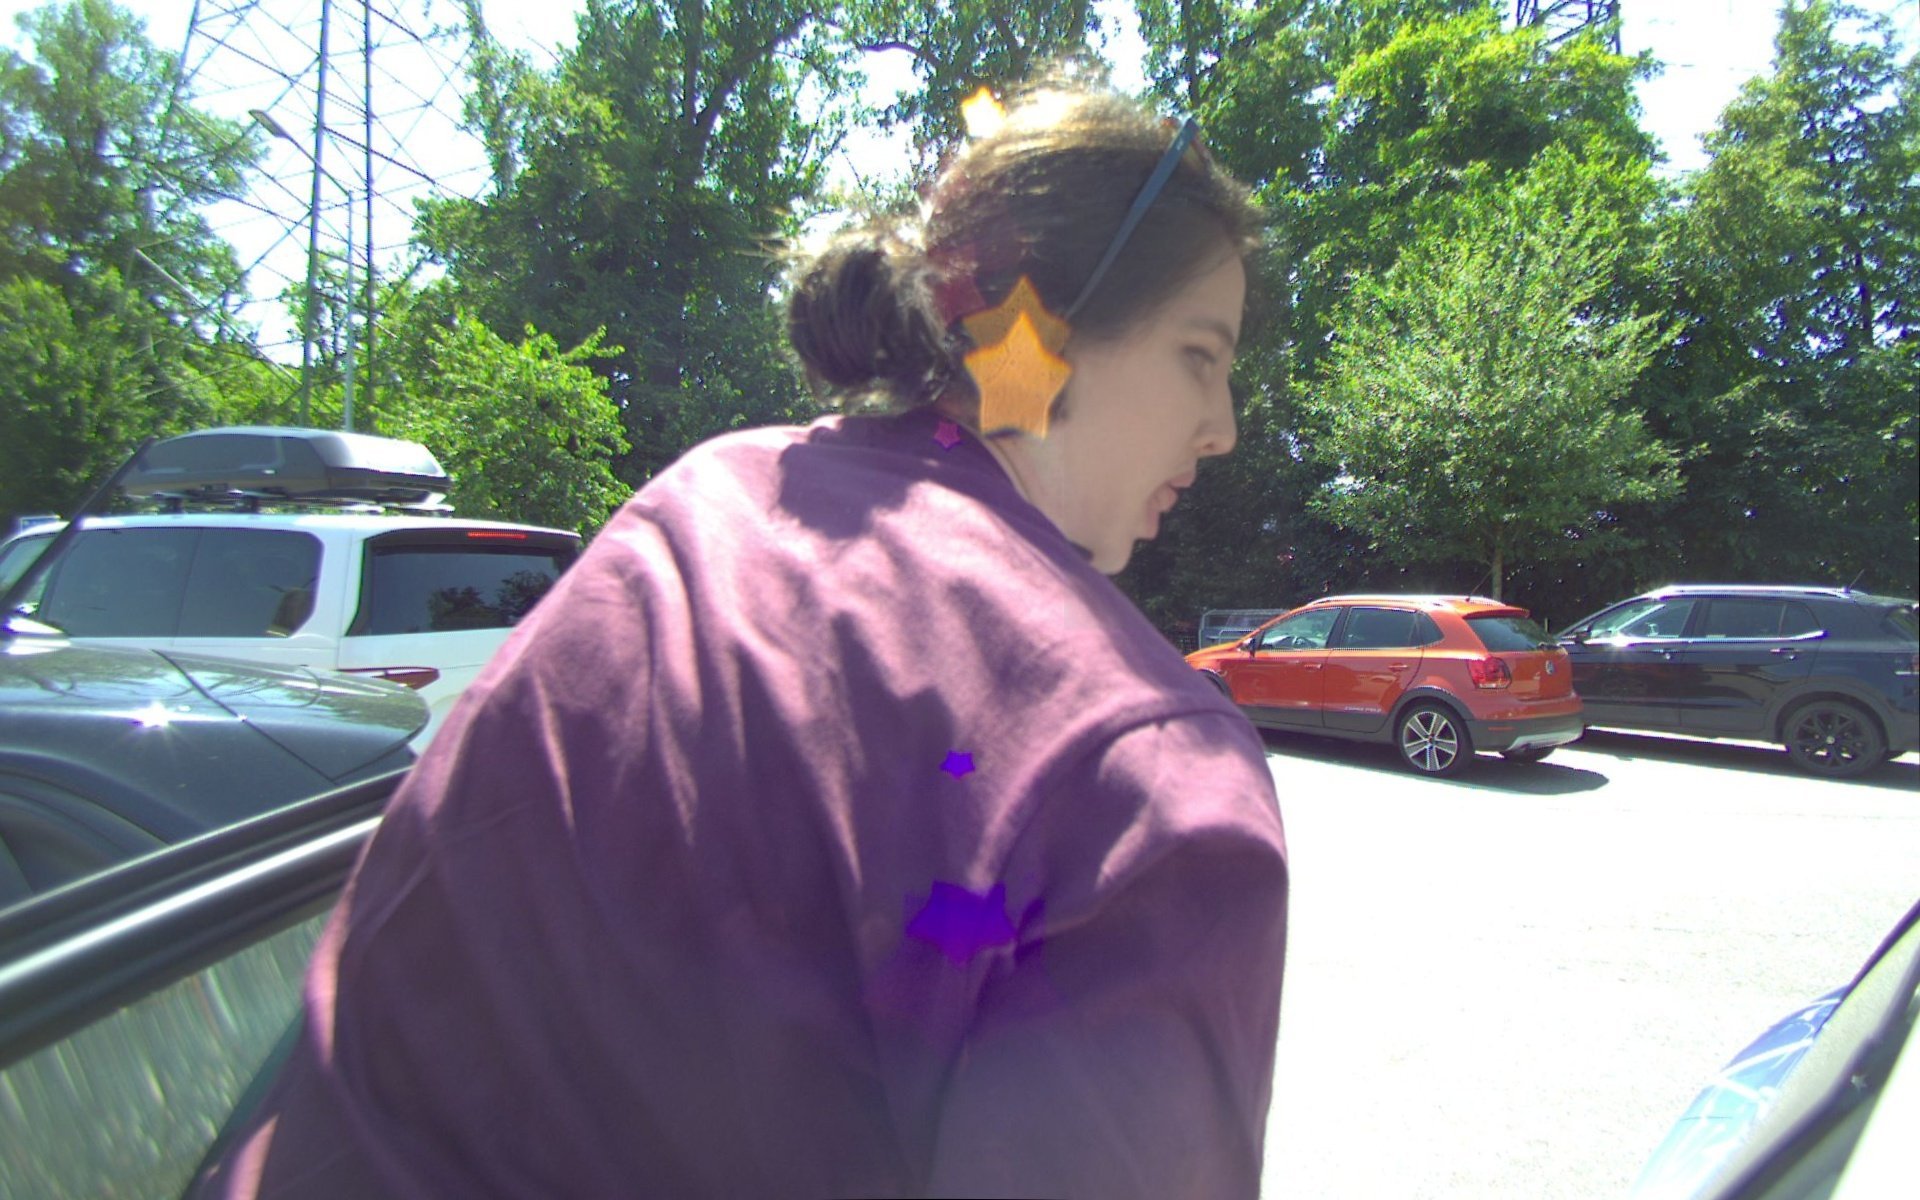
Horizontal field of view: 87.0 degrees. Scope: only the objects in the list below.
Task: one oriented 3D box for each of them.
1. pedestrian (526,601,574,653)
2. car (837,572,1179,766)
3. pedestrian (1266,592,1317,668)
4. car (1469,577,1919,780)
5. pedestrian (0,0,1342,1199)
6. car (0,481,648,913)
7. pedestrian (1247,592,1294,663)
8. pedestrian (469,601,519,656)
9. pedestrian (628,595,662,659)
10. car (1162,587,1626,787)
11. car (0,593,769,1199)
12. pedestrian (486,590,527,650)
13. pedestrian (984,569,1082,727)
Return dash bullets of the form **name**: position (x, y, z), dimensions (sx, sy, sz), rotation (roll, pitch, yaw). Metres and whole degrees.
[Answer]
- **pedestrian**: position (-9.577, 0.618, 23.635), dimensions (0.873, 1.192, 0.668), rotation (0, 0, -41)
- **car**: position (0.276, 0.537, 10.527), dimensions (1.713, 1.601, 3.996), rotation (0, 1, -29)
- **pedestrian**: position (5.803, 0.515, 17.758), dimensions (0.657, 1.311, 0.783), rotation (0, 0, 3)
- **car**: position (7.203, 0.591, 9.715), dimensions (1.690, 1.593, 3.787), rotation (0, 1, -39)
- **pedestrian**: position (-0.240, 0.546, 0.748), dimensions (0.874, 1.865, 0.621), rotation (0, 0, -38)
- **car**: position (-4.378, 0.398, 6.270), dimensions (4.510, 1.936, 1.898), rotation (1, 1, 22)
- **pedestrian**: position (5.810, 0.506, 18.987), dimensions (0.657, 1.311, 0.783), rotation (0, 0, 3)
- **pedestrian**: position (-10.493, 0.630, 22.781), dimensions (0.873, 1.192, 0.668), rotation (0, 0, -41)
- **pedestrian**: position (-6.624, 0.560, 21.279), dimensions (0.655, 1.311, 0.786), rotation (0, 0, -16)
- **car**: position (3.876, 0.627, 9.656), dimensions (1.687, 1.484, 3.793), rotation (0, 1, -32)
- **car**: position (-2.181, 0.727, 0.608), dimensions (1.737, 1.501, 3.756), rotation (0, -1, 44)
- **pedestrian**: position (-10.998, 0.477, 24.542), dimensions (0.664, 1.422, 0.643), rotation (0, 0, 32)
- **pedestrian**: position (0.818, 0.508, 11.484), dimensions (0.719, 1.703, 0.921), rotation (0, 0, -28)
